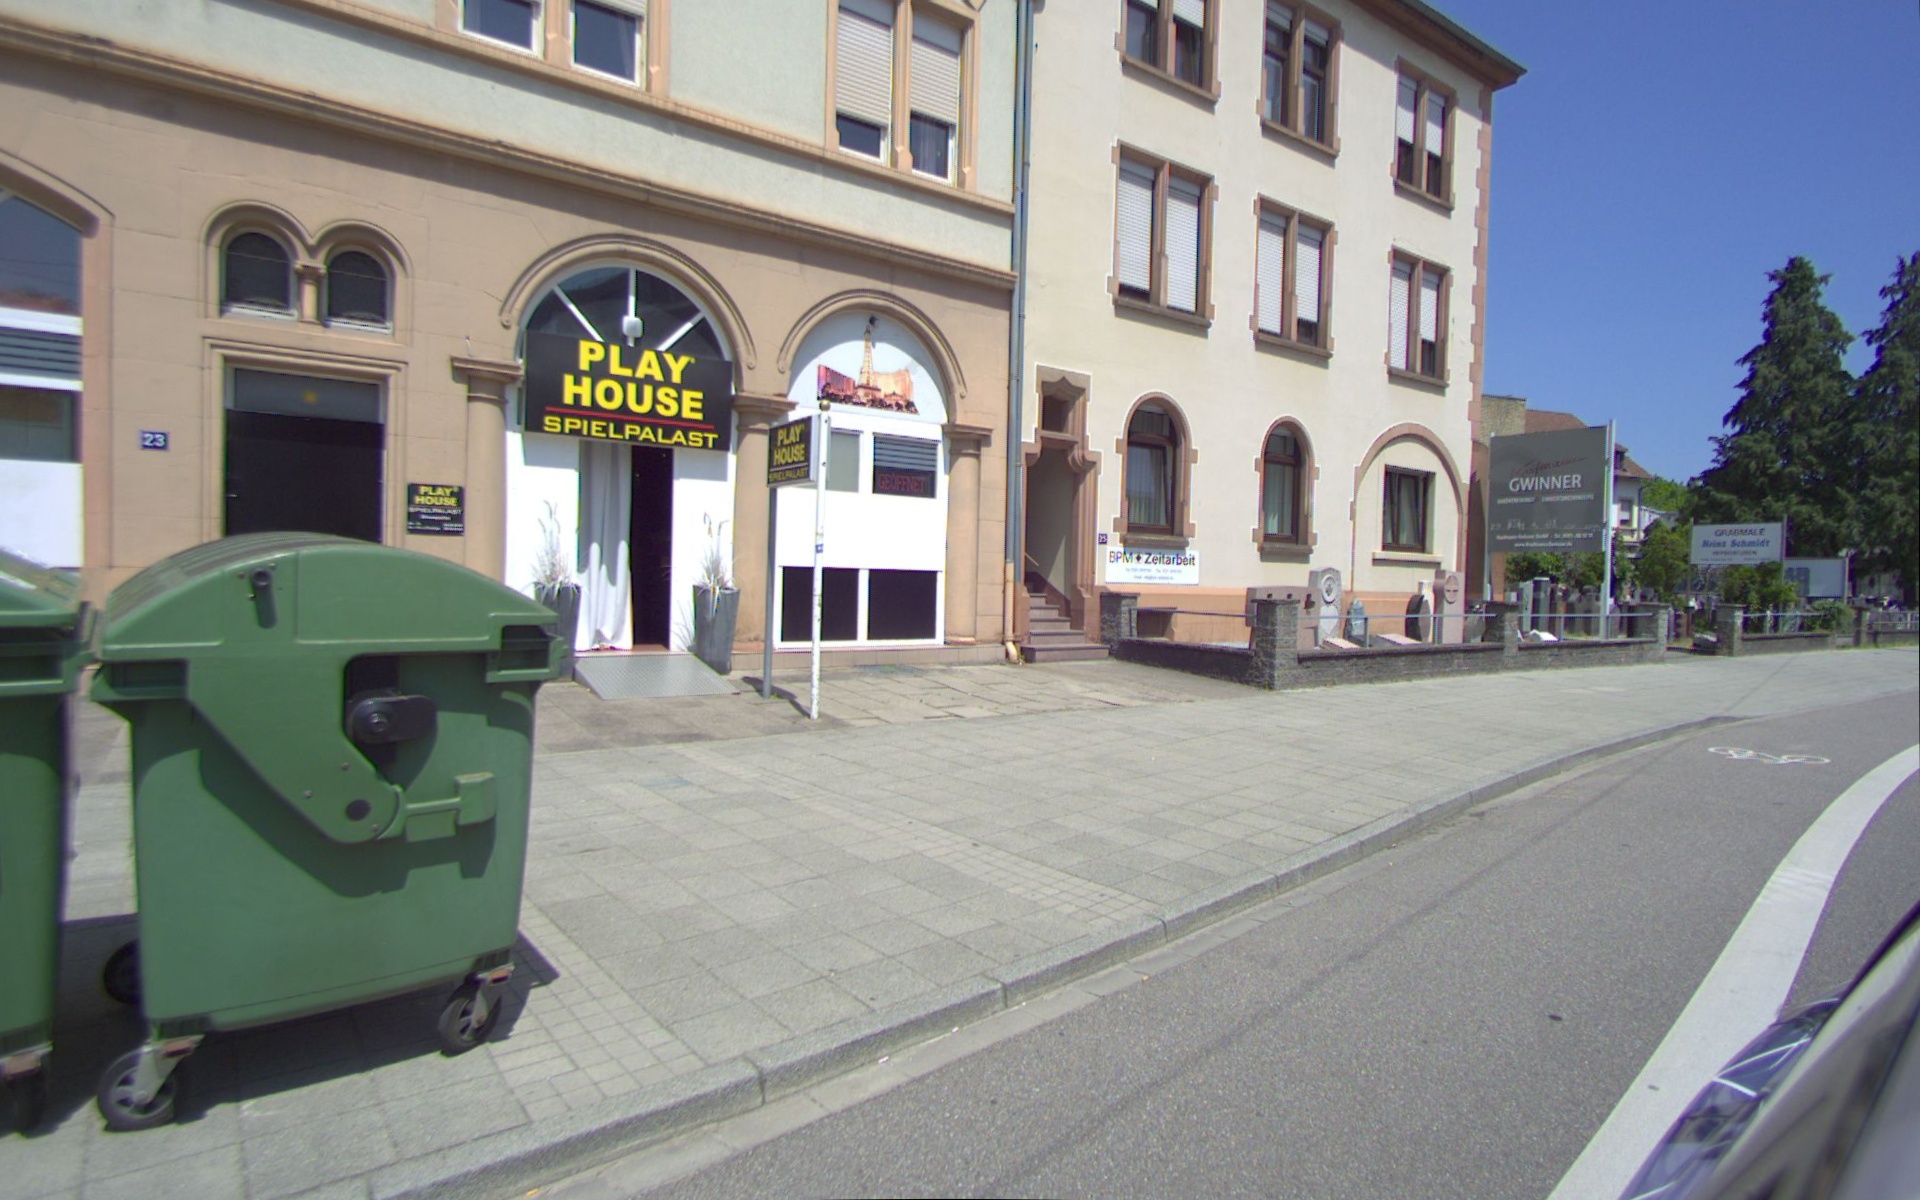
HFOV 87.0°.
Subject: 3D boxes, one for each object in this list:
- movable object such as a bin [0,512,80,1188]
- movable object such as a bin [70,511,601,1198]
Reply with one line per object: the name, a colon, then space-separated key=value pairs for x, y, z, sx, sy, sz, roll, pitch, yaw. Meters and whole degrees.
movable object such as a bin: x=-2.785 y=0.515 z=2.393 sx=1.040 sy=1.472 sz=1.249 roll=0 pitch=4 yaw=-42
movable object such as a bin: x=-1.932 y=0.506 z=3.057 sx=1.120 sy=1.472 sz=1.394 roll=0 pitch=4 yaw=-42
